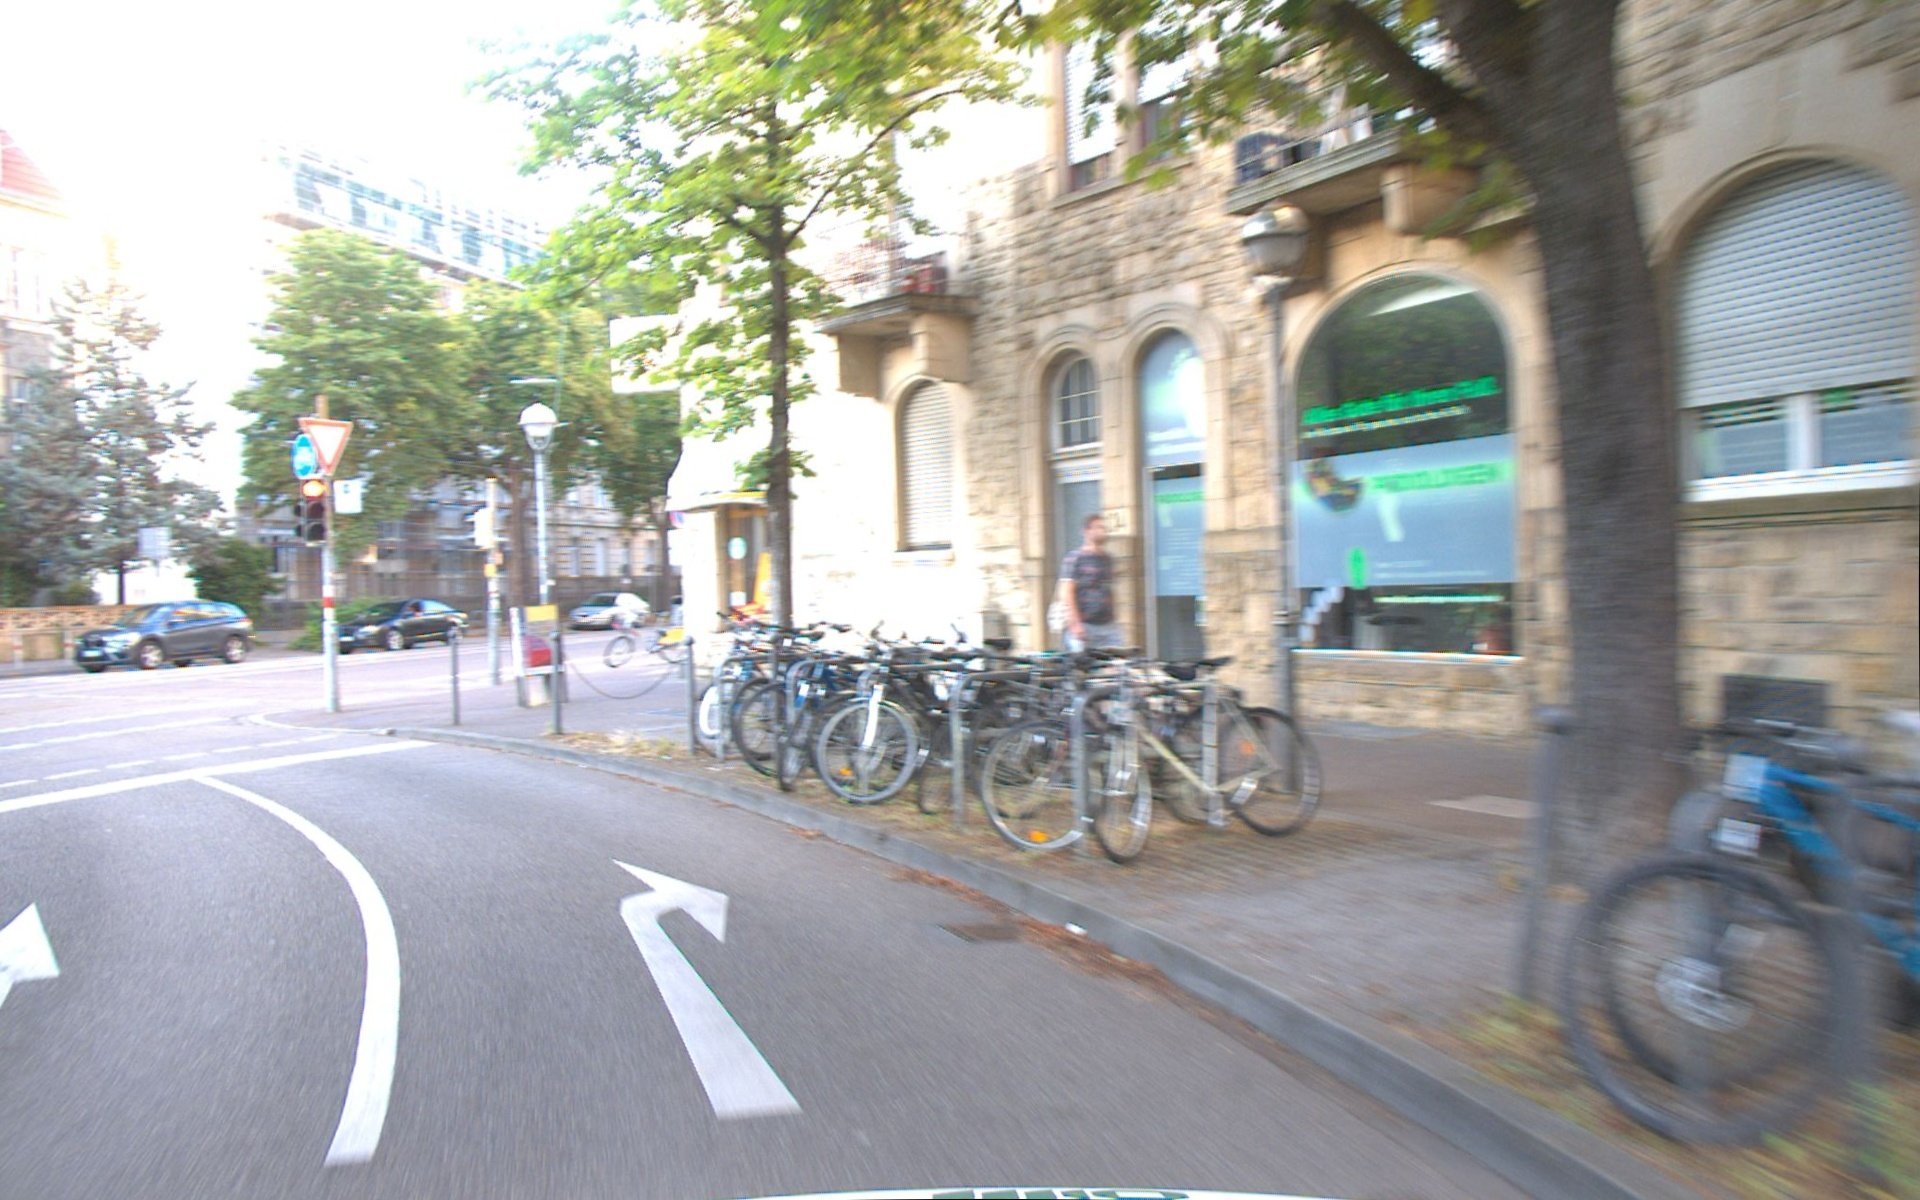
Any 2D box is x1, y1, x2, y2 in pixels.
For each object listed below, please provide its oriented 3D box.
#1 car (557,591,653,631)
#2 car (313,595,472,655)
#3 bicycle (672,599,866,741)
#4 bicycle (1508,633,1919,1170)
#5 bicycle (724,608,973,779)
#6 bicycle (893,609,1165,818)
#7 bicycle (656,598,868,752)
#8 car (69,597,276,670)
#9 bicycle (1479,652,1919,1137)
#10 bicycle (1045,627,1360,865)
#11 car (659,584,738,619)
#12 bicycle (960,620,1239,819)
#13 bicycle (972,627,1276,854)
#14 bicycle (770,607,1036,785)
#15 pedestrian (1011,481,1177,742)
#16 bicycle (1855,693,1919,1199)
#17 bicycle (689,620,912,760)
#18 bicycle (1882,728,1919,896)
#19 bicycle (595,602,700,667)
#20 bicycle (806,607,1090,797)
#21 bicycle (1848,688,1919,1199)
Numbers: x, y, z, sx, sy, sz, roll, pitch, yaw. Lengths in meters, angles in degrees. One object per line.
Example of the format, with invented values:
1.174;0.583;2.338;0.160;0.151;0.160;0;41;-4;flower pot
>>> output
-14.485;0.438;67.757;1.961;1.451;4.636;-2;1;14;car
-16.373;0.695;47.952;1.903;1.536;4.635;-2;1;18;car
-1.846;0.649;16.111;1.774;1.258;0.642;-2;1;-37;bicycle
2.463;0.721;4.343;1.844;1.238;0.491;-2;-5;-9;bicycle
-0.851;0.689;12.941;1.870;1.182;0.632;-2;1;-36;bicycle
0.431;0.689;10.398;1.644;1.147;0.484;-2;7;-18;bicycle
-1.772;0.642;14.936;1.773;1.258;0.691;-2;1;-36;bicycle
-18.761;0.756;39.645;1.903;1.536;4.422;-2;1;18;car
2.423;0.769;4.779;1.853;1.159;0.489;-1;4;-22;bicycle
1.300;0.730;8.759;1.650;1.097;0.482;-2;1;-27;bicycle
-12.221;0.064;77.598;1.903;1.508;4.170;-2;1;18;car
0.865;0.709;10.238;1.645;1.097;0.483;-2;1;-19;bicycle
0.919;0.734;9.139;1.650;1.097;0.482;-2;1;-27;bicycle
-0.414;0.680;12.340;1.862;1.182;0.635;-2;1;-25;bicycle
1.139;0.077;14.217;0.997;2.122;1.053;-3;2;-23;pedestrian
2.933;0.751;3.942;1.832;1.123;0.567;-2;1;-32;bicycle
-1.353;0.737;14.186;1.787;1.056;0.691;-2;1;-36;bicycle
2.771;0.724;3.011;1.815;1.148;0.418;-2;-18;-9;bicycle
-5.939;0.647;31.429;1.845;1.150;0.727;-2;0;-21;bicycle
-0.080;0.678;11.663;1.862;1.182;0.699;-2;1;-25;bicycle
2.800;0.742;3.393;1.815;1.164;0.418;-2;0;-9;bicycle
